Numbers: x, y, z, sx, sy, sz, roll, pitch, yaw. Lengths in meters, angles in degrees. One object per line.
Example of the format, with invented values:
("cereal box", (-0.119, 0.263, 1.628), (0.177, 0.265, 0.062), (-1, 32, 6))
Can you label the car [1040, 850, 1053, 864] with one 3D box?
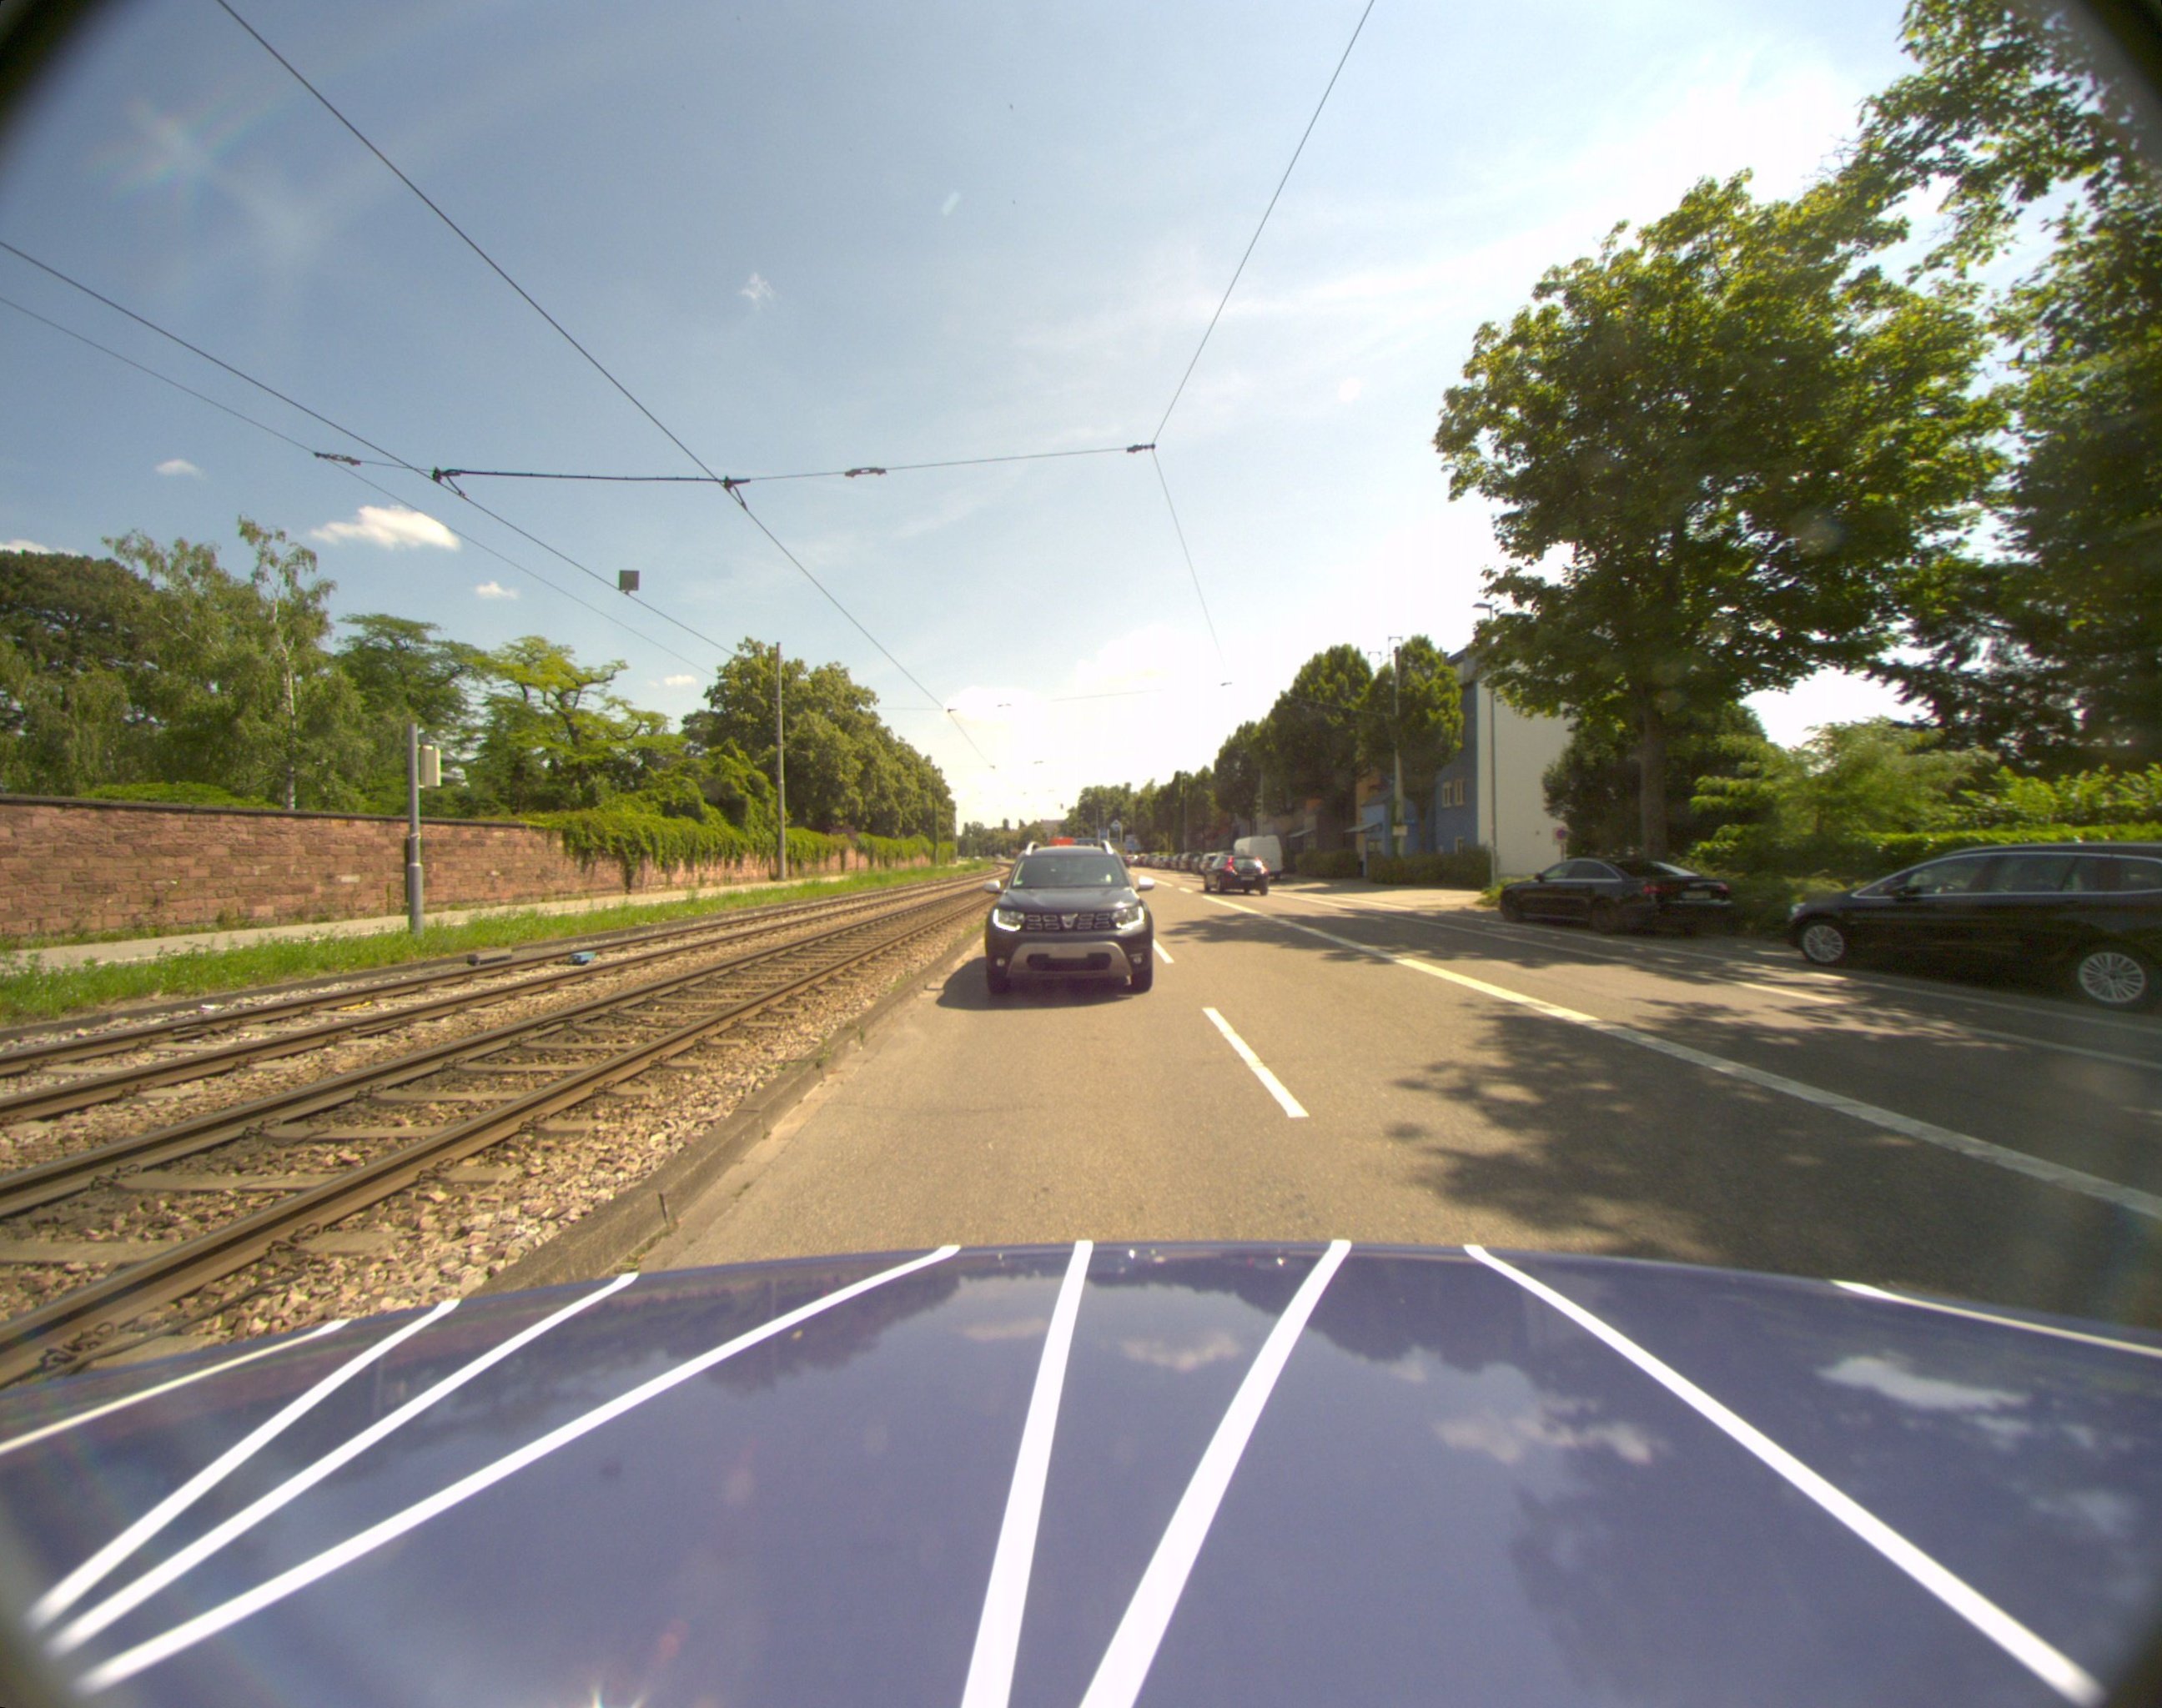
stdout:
("car", (-5.431, 0.464, 119.205), (1.999, 2.002, 3.998), (-1, 1, -4))

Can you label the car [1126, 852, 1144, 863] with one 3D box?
("car", (7.615, 0.476, 108.116), (1.661, 1.402, 4.393), (0, 0, -9))

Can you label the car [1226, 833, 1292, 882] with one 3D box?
("car", (10.797, 0.195, 46.684), (2.329, 2.635, 7.035), (-4, 0, 1))

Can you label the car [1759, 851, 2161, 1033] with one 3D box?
("car", (10.585, 0.786, 8.501), (1.779, 1.595, 4.636), (-2, 0, -1))

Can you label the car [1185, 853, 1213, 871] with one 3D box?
("car", (10.287, 0.697, 66.446), (1.603, 1.462, 4.086), (-1, 0, -2))

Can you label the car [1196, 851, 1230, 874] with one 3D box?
("car", (10.444, 0.654, 60.438), (1.721, 1.742, 4.903), (-1, 0, -1))

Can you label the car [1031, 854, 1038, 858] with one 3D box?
("car", (-14.661, 0.576, 237.557), (2.000, 1.379, 3.997), (0, 0, -7))

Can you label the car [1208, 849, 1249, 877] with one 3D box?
("car", (10.601, 0.603, 54.906), (1.811, 1.884, 5.361), (-3, 0, 0))

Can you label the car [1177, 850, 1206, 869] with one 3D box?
("car", (10.308, 0.544, 70.875), (1.756, 1.706, 4.886), (0, 0, -3))

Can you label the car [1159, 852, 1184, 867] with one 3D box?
("car", (9.741, 0.580, 82.397), (1.746, 1.438, 4.823), (-2, 0, -4))

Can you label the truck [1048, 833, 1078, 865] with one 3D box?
("truck", (-2.259, -0.594, 91.019), (2.847, 3.574, 8.700), (-1, 1, -6))

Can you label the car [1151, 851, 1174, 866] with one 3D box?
("car", (9.437, 0.506, 88.408), (1.660, 1.499, 4.892), (-3, 1, -6))

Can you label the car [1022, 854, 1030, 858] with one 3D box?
("car", (-17.096, 0.586, 236.195), (2.000, 1.379, 3.997), (0, 0, -7))

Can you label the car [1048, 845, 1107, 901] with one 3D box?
("car", (-0.126, 0.564, 25.730), (1.801, 1.683, 4.143), (-2, 1, -1))

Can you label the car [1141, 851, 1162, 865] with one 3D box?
("car", (8.657, 0.436, 93.805), (1.660, 1.600, 4.685), (-3, 0, -5))

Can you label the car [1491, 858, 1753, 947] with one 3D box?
("car", (10.521, 0.845, 15.344), (1.779, 1.447, 4.803), (-1, 0, -1))

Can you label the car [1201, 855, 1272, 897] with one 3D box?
("car", (5.655, 0.750, 28.067), (1.682, 1.390, 4.005), (2, 0, -1))

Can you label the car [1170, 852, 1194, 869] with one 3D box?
("car", (10.126, 0.603, 76.323), (1.660, 1.608, 4.283), (0, 1, -3))

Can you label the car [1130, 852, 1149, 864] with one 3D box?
("car", (7.621, 0.497, 99.409), (1.661, 1.600, 4.170), (-1, 0, -9))

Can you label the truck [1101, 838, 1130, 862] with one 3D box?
("truck", (5.344, -0.578, 119.789), (2.840, 3.528, 8.164), (-3, 0, -9))

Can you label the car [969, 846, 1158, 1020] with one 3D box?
("car", (-0.193, 0.772, 9.796), (1.801, 1.652, 4.787), (-1, 0, -1))

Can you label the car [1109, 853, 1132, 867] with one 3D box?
("car", (4.276, 0.619, 82.657), (1.780, 1.451, 4.192), (1, 0, -6))
